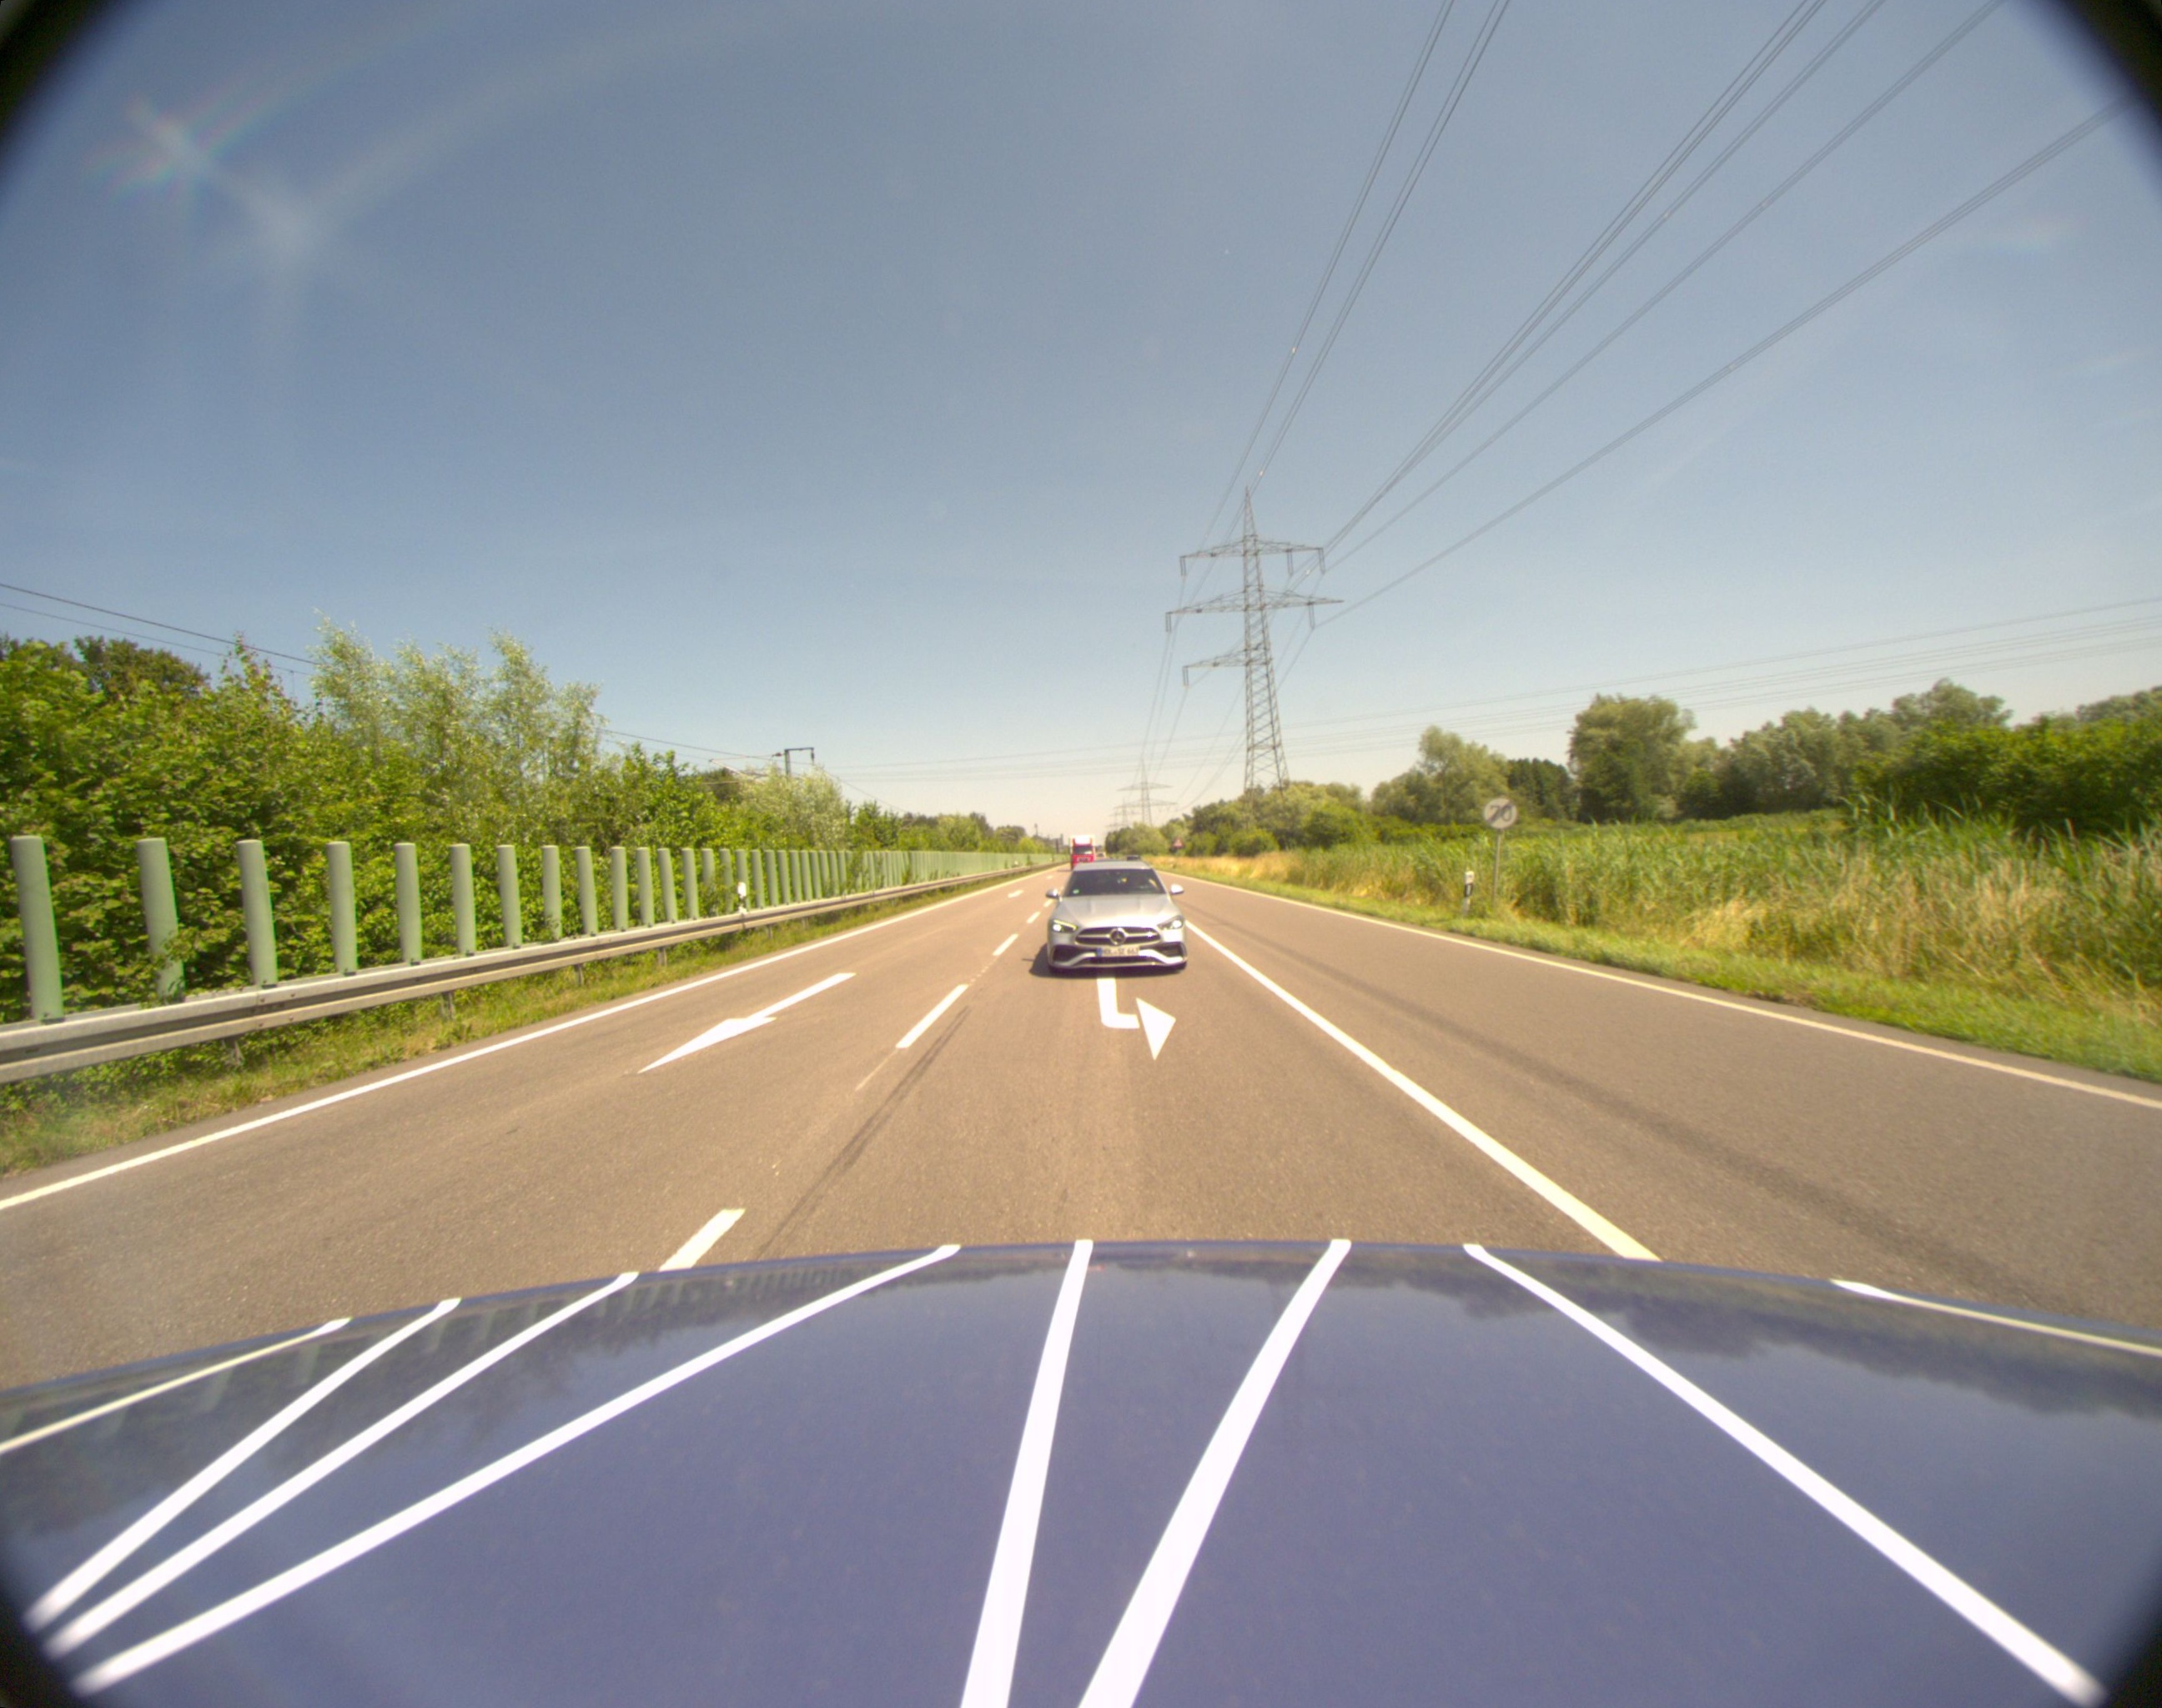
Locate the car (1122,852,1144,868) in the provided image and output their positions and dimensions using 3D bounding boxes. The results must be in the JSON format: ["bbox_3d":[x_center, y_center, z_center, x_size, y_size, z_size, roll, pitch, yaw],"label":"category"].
[{"bbox_3d":[4.913,0.541,71.900,1.749,1.425,4.322,-2,0,0],"label":"car"}]

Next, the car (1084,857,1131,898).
[{"bbox_3d":[1.060,0.877,30.022,1.697,1.385,4.468,-2,0,2],"label":"car"}]

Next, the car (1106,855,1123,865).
[{"bbox_3d":[4.132,0.735,94.206,1.864,1.221,4.322,-2,0,0],"label":"car"}]

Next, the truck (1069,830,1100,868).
[{"bbox_3d":[0.428,-0.499,80.157,2.907,3.641,7.156,-4,0,1],"label":"truck"}]

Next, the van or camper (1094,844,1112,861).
[{"bbox_3d":[3.944,-0.390,136.449,2.578,2.865,6.744,-2,1,-2],"label":"van or camper"}]

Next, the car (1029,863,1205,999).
[{"bbox_3d":[0.479,0.924,11.026,1.998,1.437,4.467,-2,0,2],"label":"car"}]
